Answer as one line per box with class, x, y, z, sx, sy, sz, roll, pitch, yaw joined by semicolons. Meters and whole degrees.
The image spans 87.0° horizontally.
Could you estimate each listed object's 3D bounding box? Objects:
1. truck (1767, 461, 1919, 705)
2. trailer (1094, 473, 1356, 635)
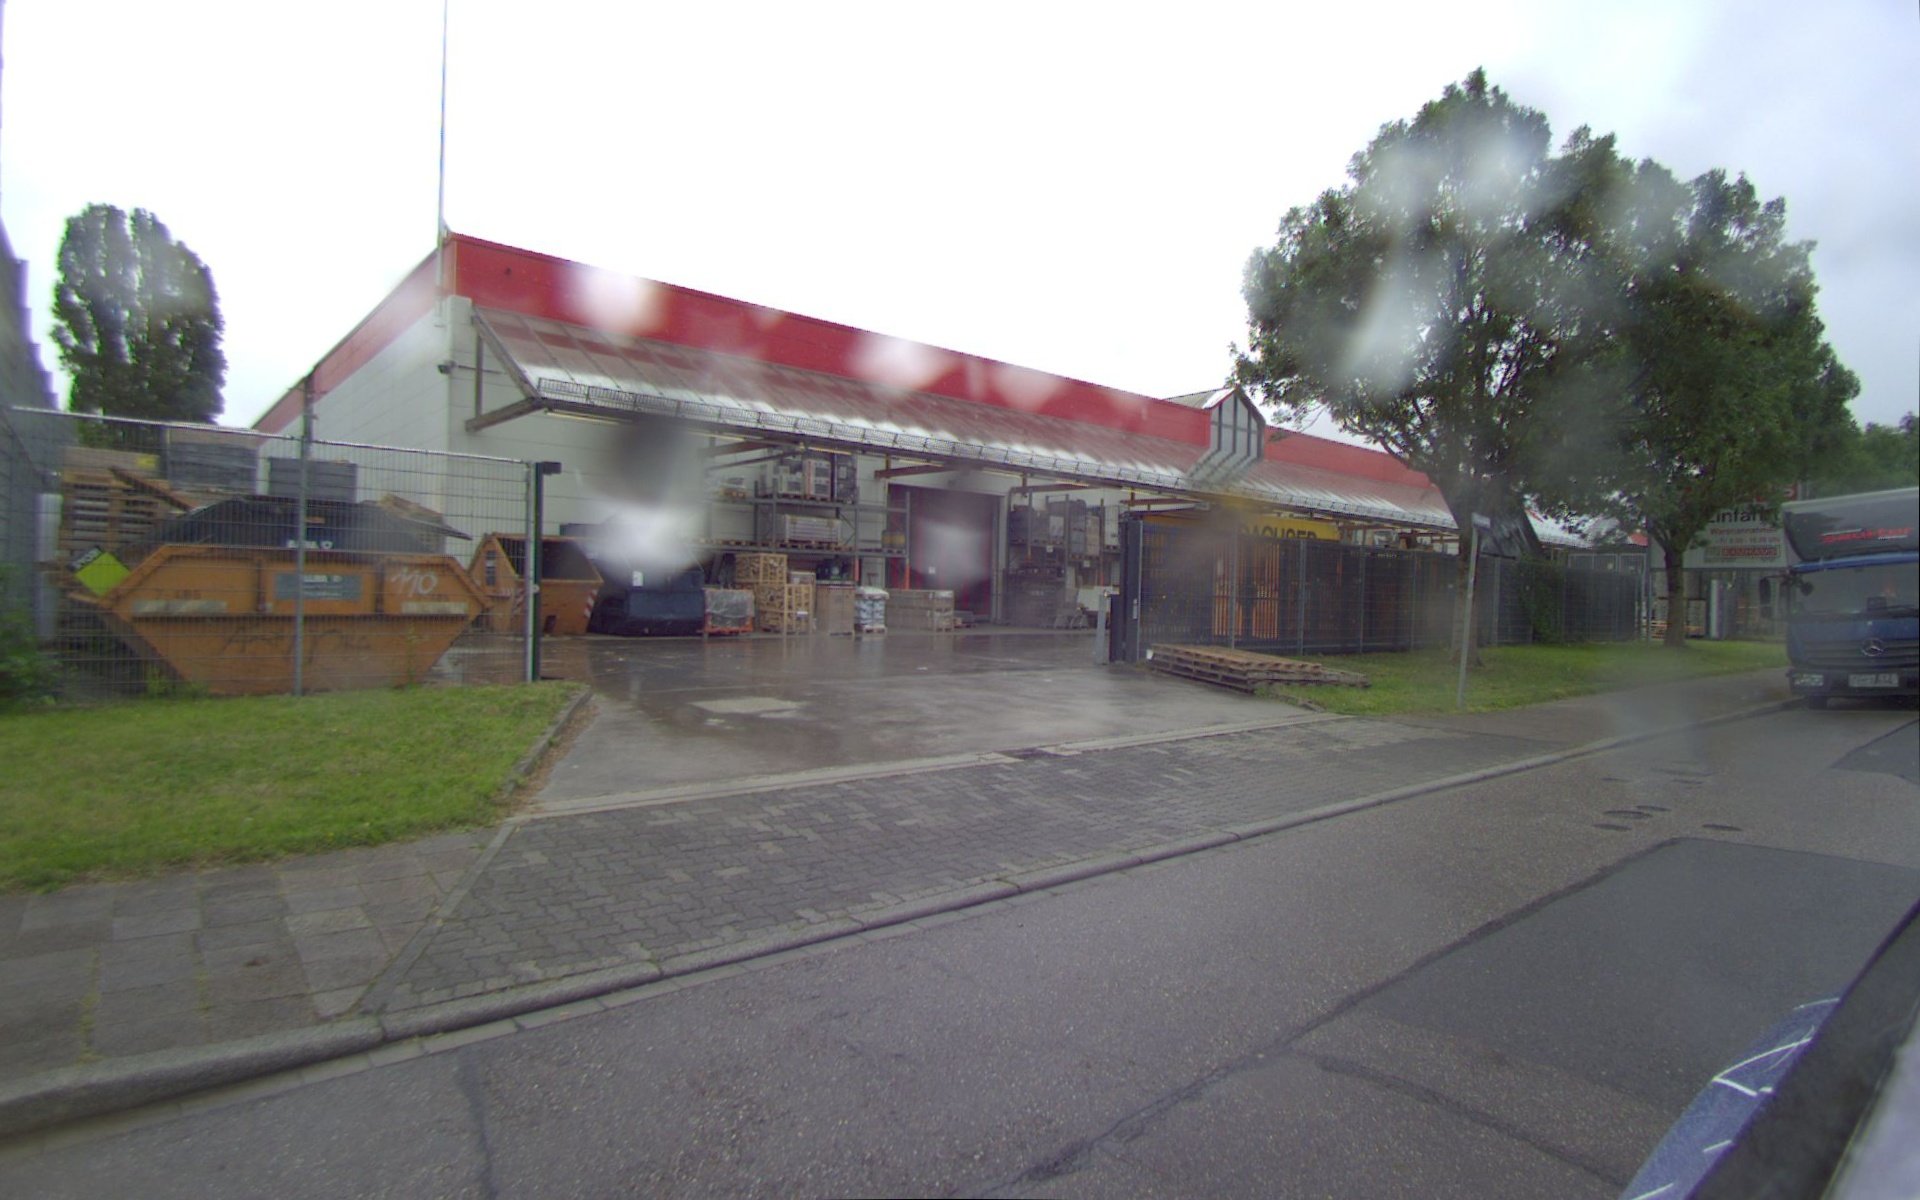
truck;17.365;-0.214;18.391;7.867;3.740;2.676;1;-2;-40
trailer;8.379;-1.228;31.058;9.304;4.296;2.972;1;1;-41
